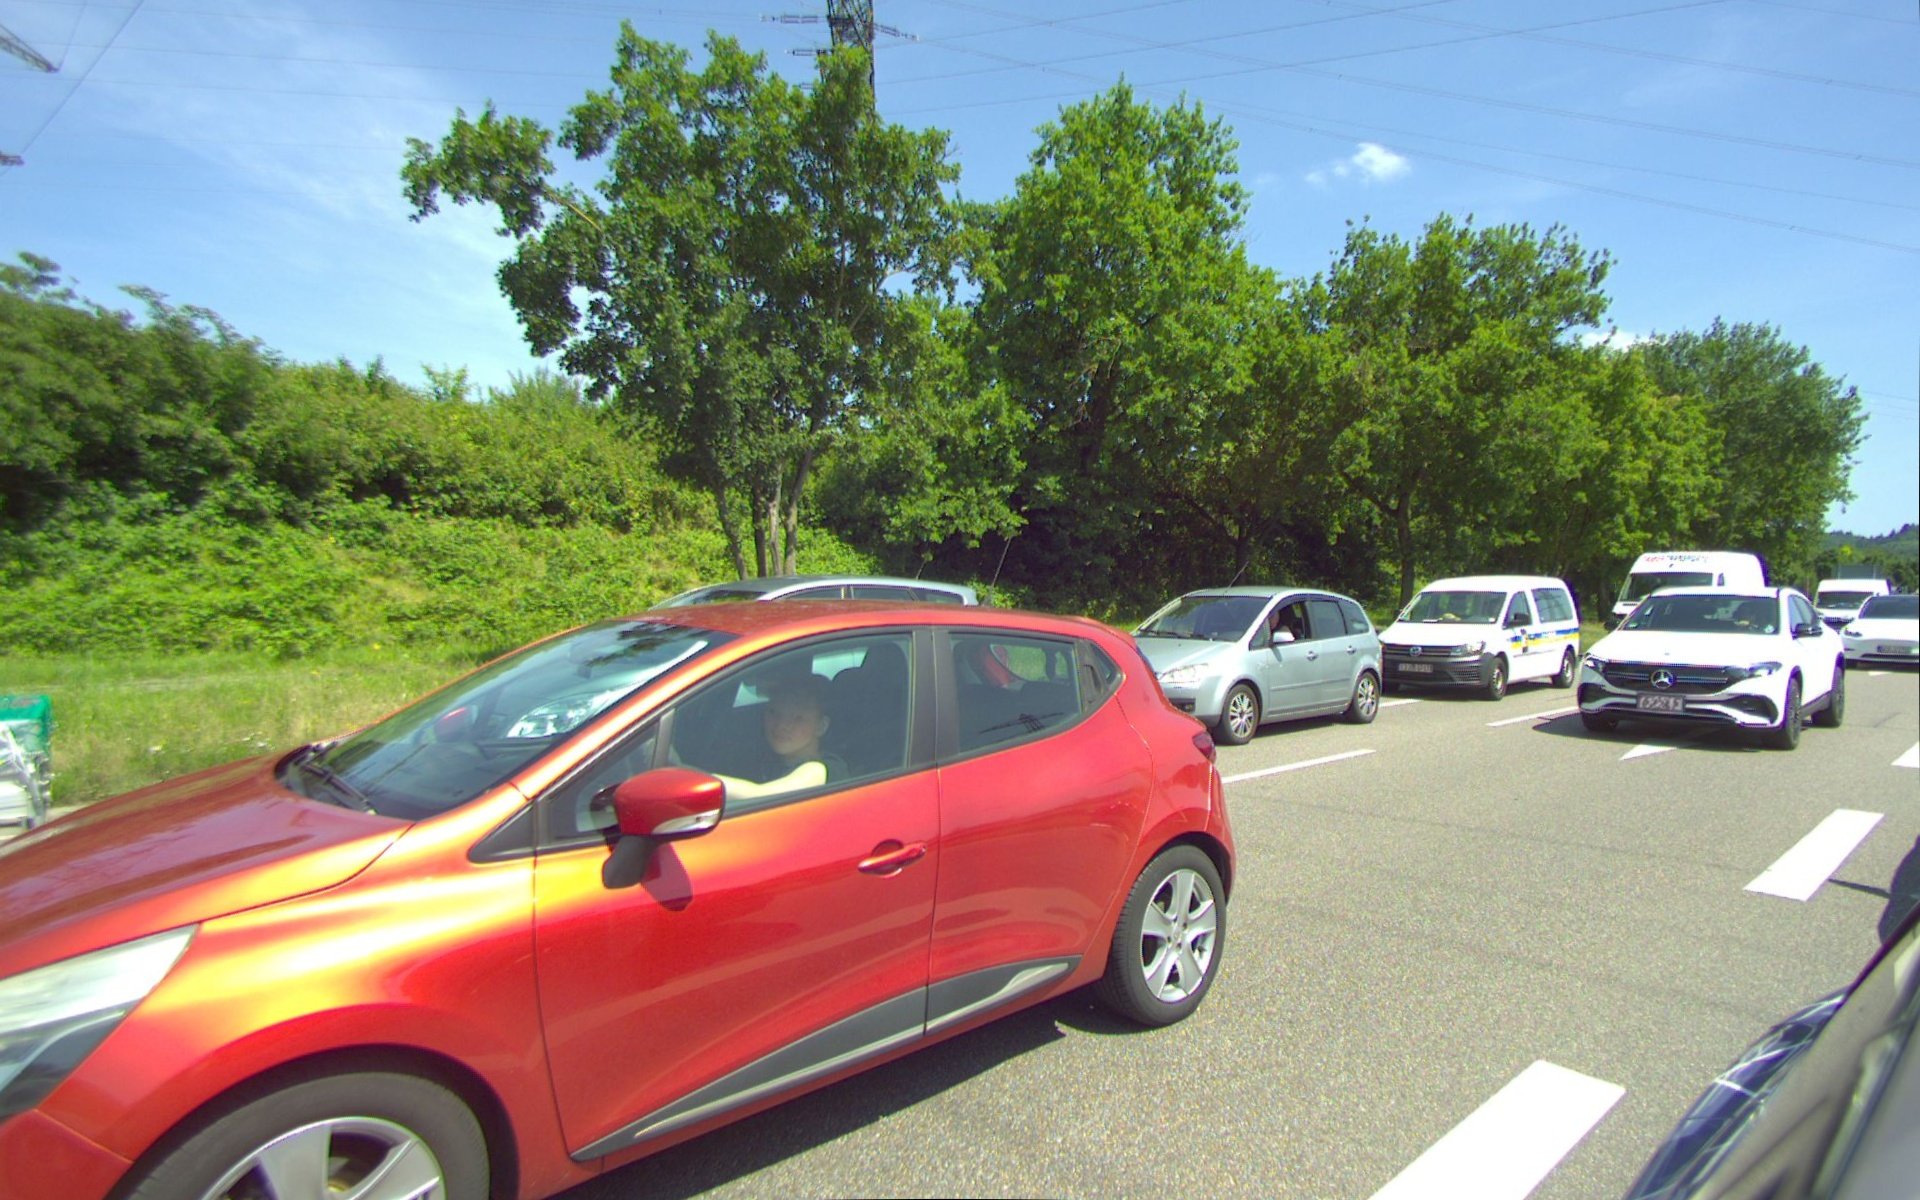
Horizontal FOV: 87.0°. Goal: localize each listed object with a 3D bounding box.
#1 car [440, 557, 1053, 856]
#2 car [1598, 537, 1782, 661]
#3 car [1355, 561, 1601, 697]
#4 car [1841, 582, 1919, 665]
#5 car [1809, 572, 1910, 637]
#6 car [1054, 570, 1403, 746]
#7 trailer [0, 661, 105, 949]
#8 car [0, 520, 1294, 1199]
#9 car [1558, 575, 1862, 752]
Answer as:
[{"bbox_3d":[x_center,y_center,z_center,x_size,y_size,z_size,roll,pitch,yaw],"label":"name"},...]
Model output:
[{"bbox_3d":[-1.377,0.552,7.477,4.092,1.615,1.768,0,1,-41],"label":"car"},{"bbox_3d":[18.026,-0.033,24.796,6.897,2.640,2.230,0,0,-42],"label":"car"},{"bbox_3d":[8.286,0.386,15.954,4.950,1.823,1.807,0,0,-42],"label":"car"},{"bbox_3d":[20.861,0.472,22.124,3.932,1.703,2.019,0,0,-43],"label":"car"},{"bbox_3d":[36.369,0.170,40.875,5.712,2.453,2.306,0,0,-41],"label":"car"},{"bbox_3d":[3.134,0.525,11.346,4.197,1.614,1.746,0,0,-41],"label":"car"},{"bbox_3d":[-5.307,0.849,3.743,3.266,1.019,1.709,0,0,-41],"label":"trailer"},{"bbox_3d":[-0.776,0.618,3.191,3.995,1.480,1.745,0,0,-42],"label":"car"},{"bbox_3d":[8.432,0.565,11.240,4.287,1.588,1.849,0,0,-41],"label":"car"}]
